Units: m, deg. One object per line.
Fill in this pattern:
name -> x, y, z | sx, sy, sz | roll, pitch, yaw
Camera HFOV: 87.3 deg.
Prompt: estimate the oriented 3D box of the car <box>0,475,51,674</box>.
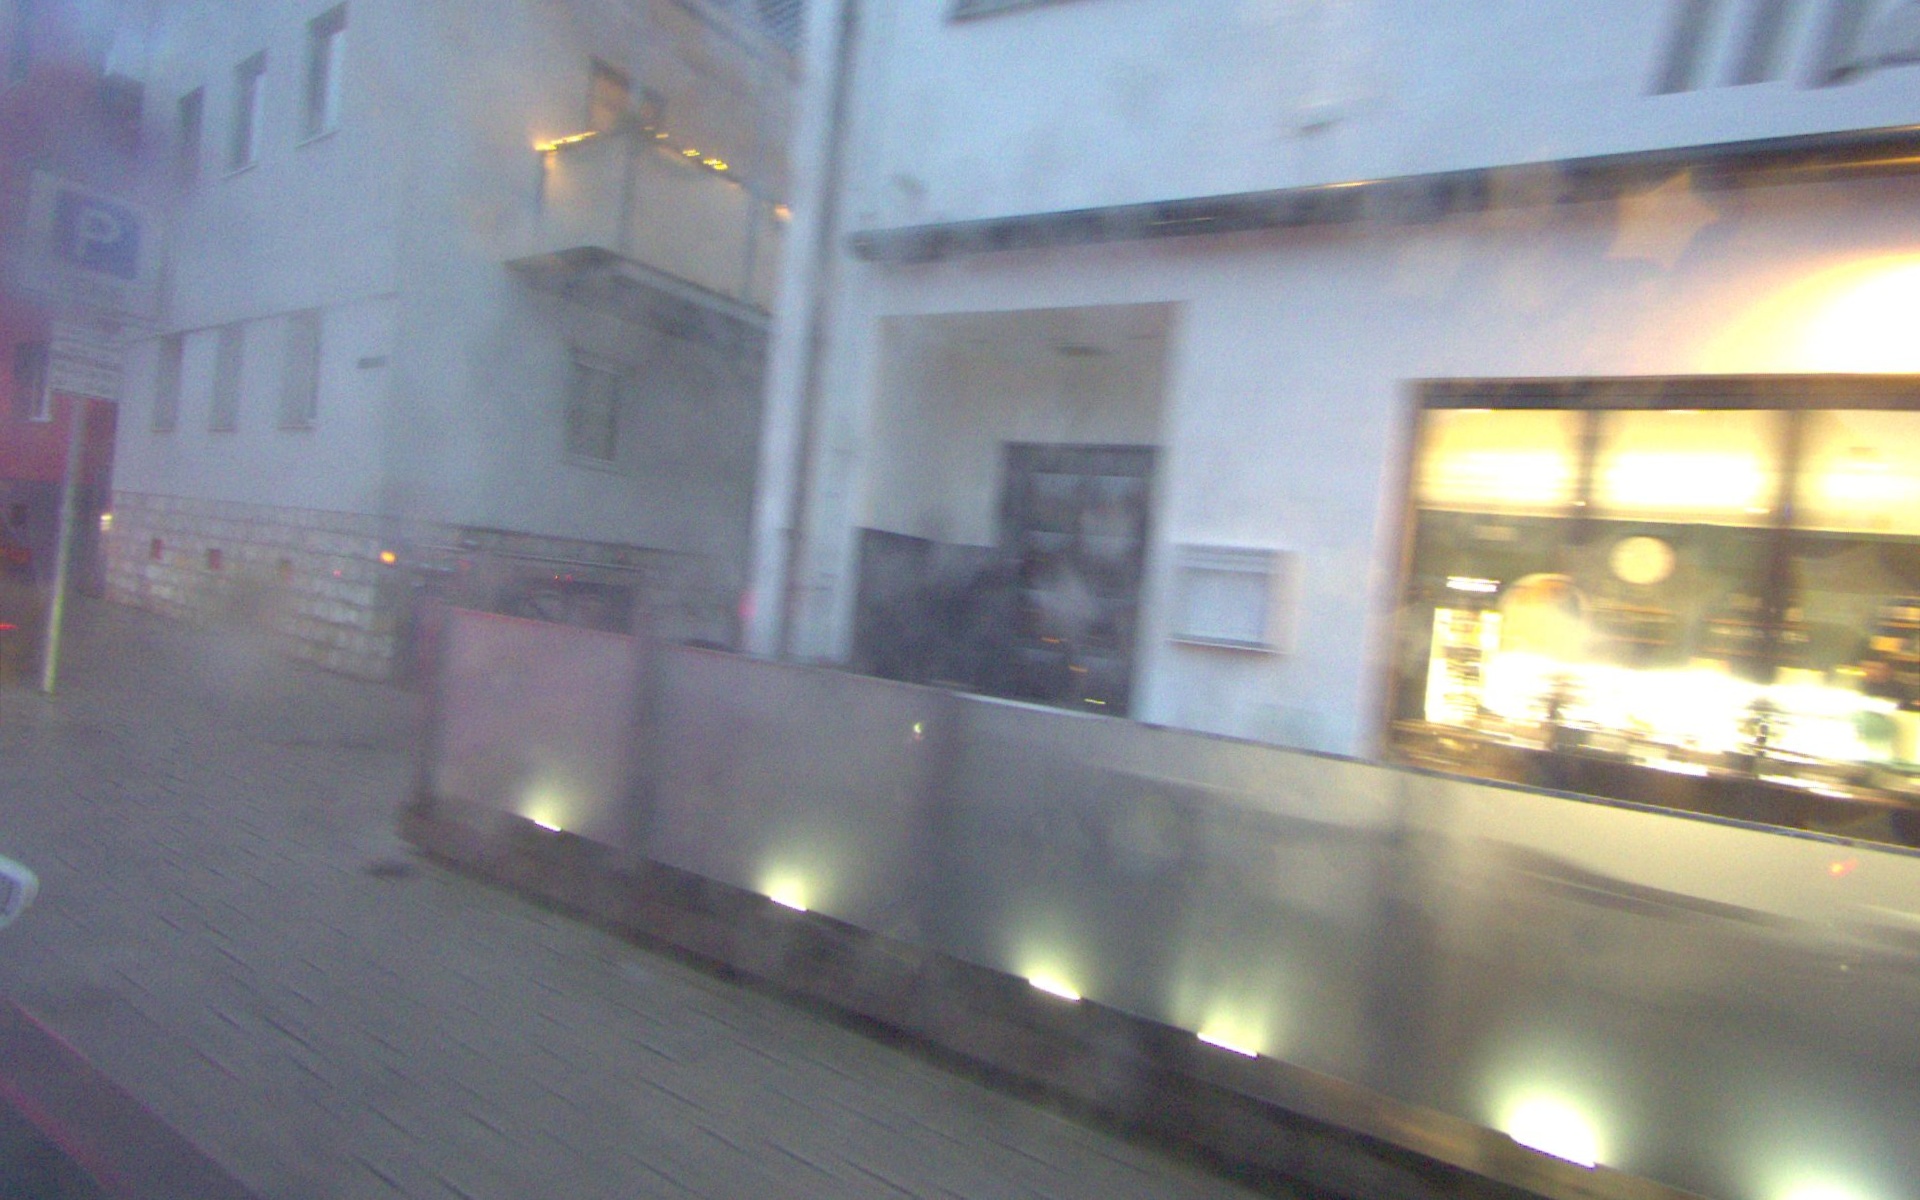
car -> -9.210, -0.408, 8.214 | 4.131, 1.484, 1.727 | 7, 3, 34
